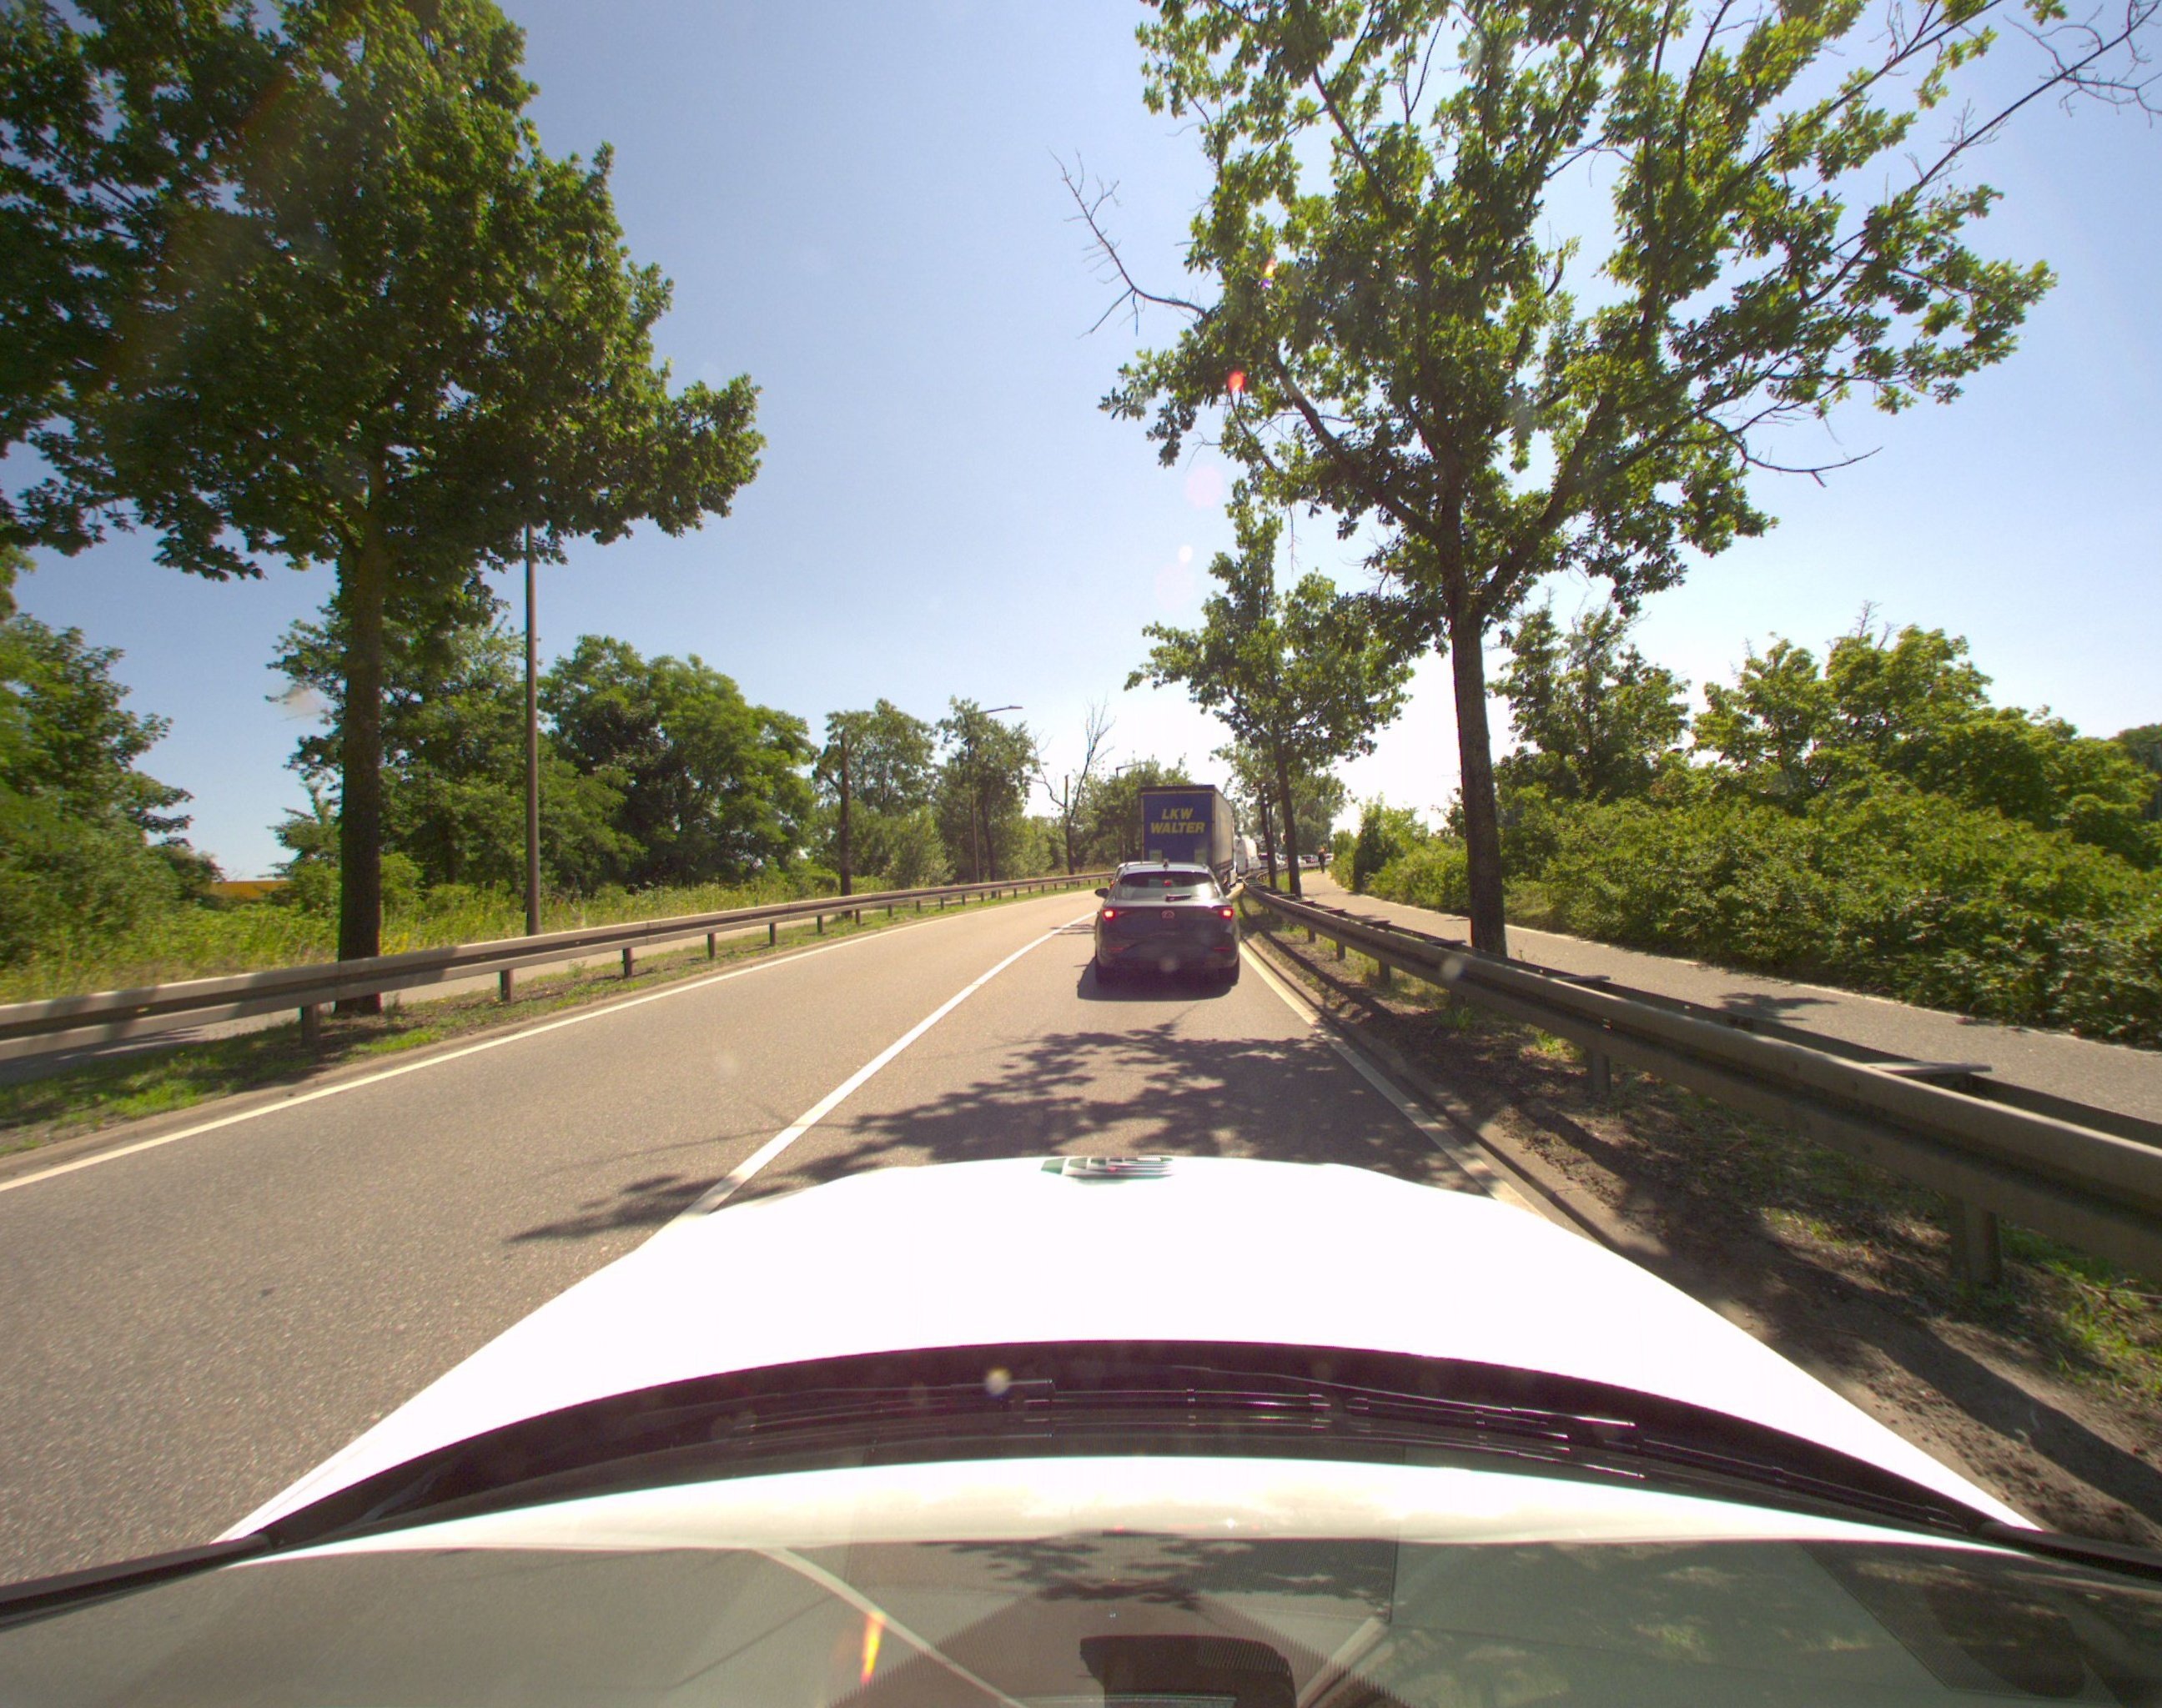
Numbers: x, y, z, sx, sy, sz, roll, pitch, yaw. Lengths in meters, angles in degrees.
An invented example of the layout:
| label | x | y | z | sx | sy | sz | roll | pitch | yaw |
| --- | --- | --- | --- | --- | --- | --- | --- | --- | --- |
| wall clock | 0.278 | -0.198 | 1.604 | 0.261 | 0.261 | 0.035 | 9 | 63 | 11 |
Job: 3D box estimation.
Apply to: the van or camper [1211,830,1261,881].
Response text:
| label | x | y | z | sx | sy | sz | roll | pitch | yaw |
| --- | --- | --- | --- | --- | --- | --- | --- | --- | --- |
| van or camper | 9.818 | 0.133 | 51.160 | 2.447 | 2.998 | 6.113 | -1 | -1 | 17 |

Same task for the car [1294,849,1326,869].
| label | x | y | z | sx | sy | sz | roll | pitch | yaw |
| --- | --- | --- | --- | --- | --- | --- | --- | --- | --- |
| car | 21.177 | 0.462 | 75.096 | 1.975 | 1.717 | 4.897 | -1 | -1 | 26 |

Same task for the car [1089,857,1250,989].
| label | x | y | z | sx | sy | sz | roll | pitch | yaw |
| --- | --- | --- | --- | --- | --- | --- | --- | --- | --- |
| car | 1.051 | 0.778 | 10.867 | 1.737 | 1.432 | 3.882 | -1 | -1 | 2 |

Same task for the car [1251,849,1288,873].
| label | x | y | z | sx | sy | sz | roll | pitch | yaw |
| --- | --- | --- | --- | --- | --- | --- | --- | --- | --- |
| car | 14.206 | 0.538 | 61.245 | 1.976 | 1.712 | 4.644 | -1 | -1 | 21 |

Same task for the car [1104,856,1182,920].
| label | x | y | z | sx | sy | sz | roll | pitch | yaw |
| --- | --- | --- | --- | --- | --- | --- | --- | --- | --- |
| car | 1.707 | 0.828 | 21.320 | 1.799 | 1.508 | 4.008 | -1 | -1 | 7 |

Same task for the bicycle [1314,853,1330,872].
| label | x | y | z | sx | sy | sz | roll | pitch | yaw |
| --- | --- | --- | --- | --- | --- | --- | --- | --- | --- |
| bicycle | 15.658 | 0.549 | 53.003 | 0.854 | 1.237 | 2.318 | -1 | -1 | 14 |

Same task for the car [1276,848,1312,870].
| label | x | y | z | sx | sy | sz | roll | pitch | yaw |
| --- | --- | --- | --- | --- | --- | --- | --- | --- | --- |
| car | 17.883 | 0.408 | 68.301 | 1.975 | 1.808 | 4.874 | -1 | -1 | 26 |

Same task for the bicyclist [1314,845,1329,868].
| label | x | y | z | sx | sy | sz | roll | pitch | yaw |
| --- | --- | --- | --- | --- | --- | --- | --- | --- | --- |
| bicyclist | 15.641 | 0.164 | 52.997 | 0.854 | 1.523 | 0.984 | -1 | -1 | 14 |

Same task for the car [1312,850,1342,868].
| label | x | y | z | sx | sy | sz | roll | pitch | yaw |
| --- | --- | --- | --- | --- | --- | --- | --- | --- | --- |
| car | 24.569 | 0.479 | 81.267 | 1.975 | 1.768 | 4.783 | -1 | -1 | 28 |

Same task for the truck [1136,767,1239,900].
| label | x | y | z | sx | sy | sz | roll | pitch | yaw |
| --- | --- | --- | --- | --- | --- | --- | --- | --- | --- |
| truck | 5.177 | -0.620 | 35.839 | 2.930 | 4.449 | 16.854 | -1 | -1 | 12 |
